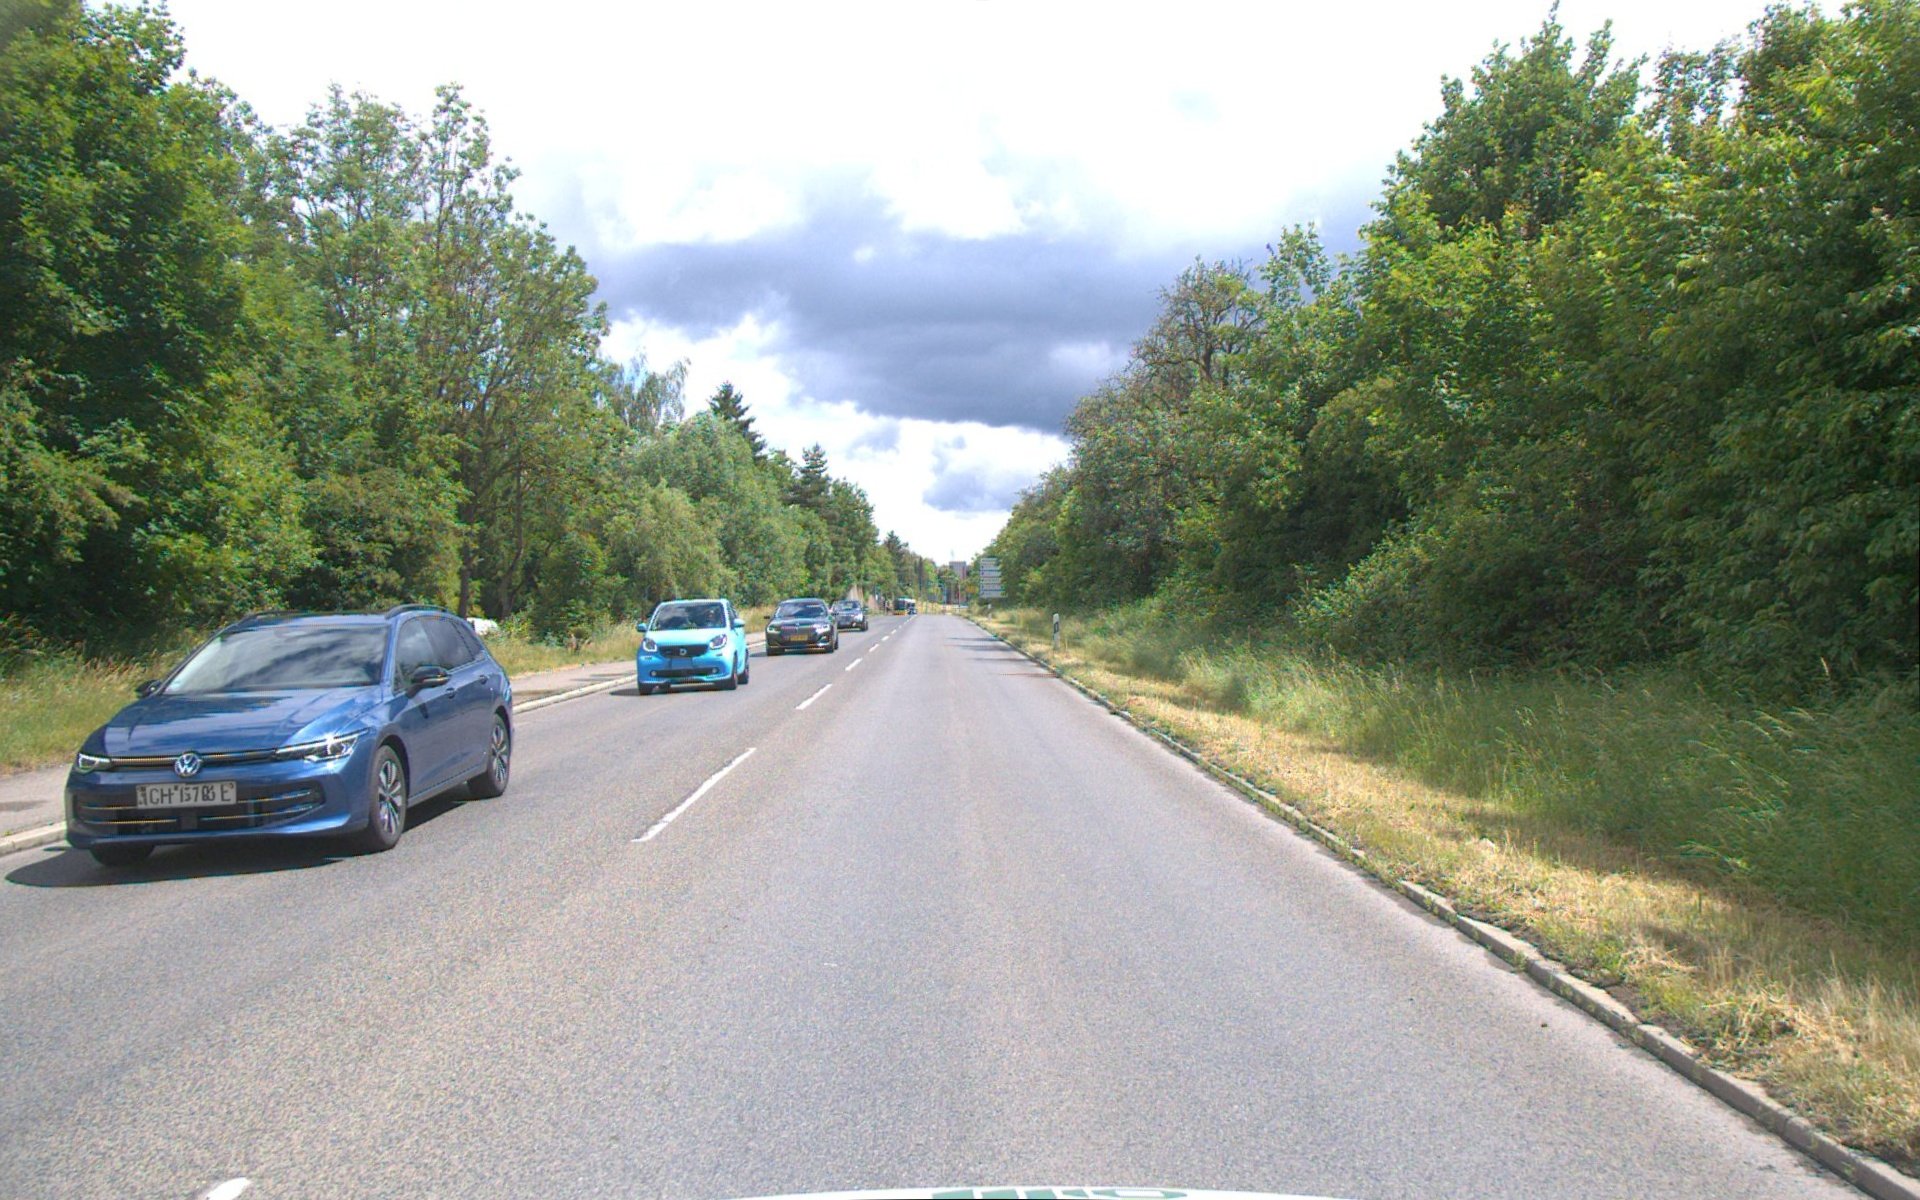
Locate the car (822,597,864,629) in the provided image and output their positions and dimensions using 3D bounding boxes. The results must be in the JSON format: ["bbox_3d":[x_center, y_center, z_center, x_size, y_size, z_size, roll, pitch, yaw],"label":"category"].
[{"bbox_3d":[-5.363,0.569,76.226,1.748,1.357,4.621,-2,0,-2],"label":"car"}]

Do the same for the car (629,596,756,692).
[{"bbox_3d":[-4.563,0.715,28.575,1.748,1.472,2.965,-2,0,-2],"label":"car"}]

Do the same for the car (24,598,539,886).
[{"bbox_3d":[-4.277,0.773,11.286,1.748,1.472,4.451,-2,0,-2],"label":"car"}]

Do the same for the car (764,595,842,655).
[{"bbox_3d":[-4.378,0.663,46.741,1.846,1.518,4.715,-2,0,-2],"label":"car"}]

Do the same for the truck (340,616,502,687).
[{"bbox_3d":[-22.505,2.126,69.154,6.071,2.655,2.002,-3,-1,8],"label":"truck"}]
